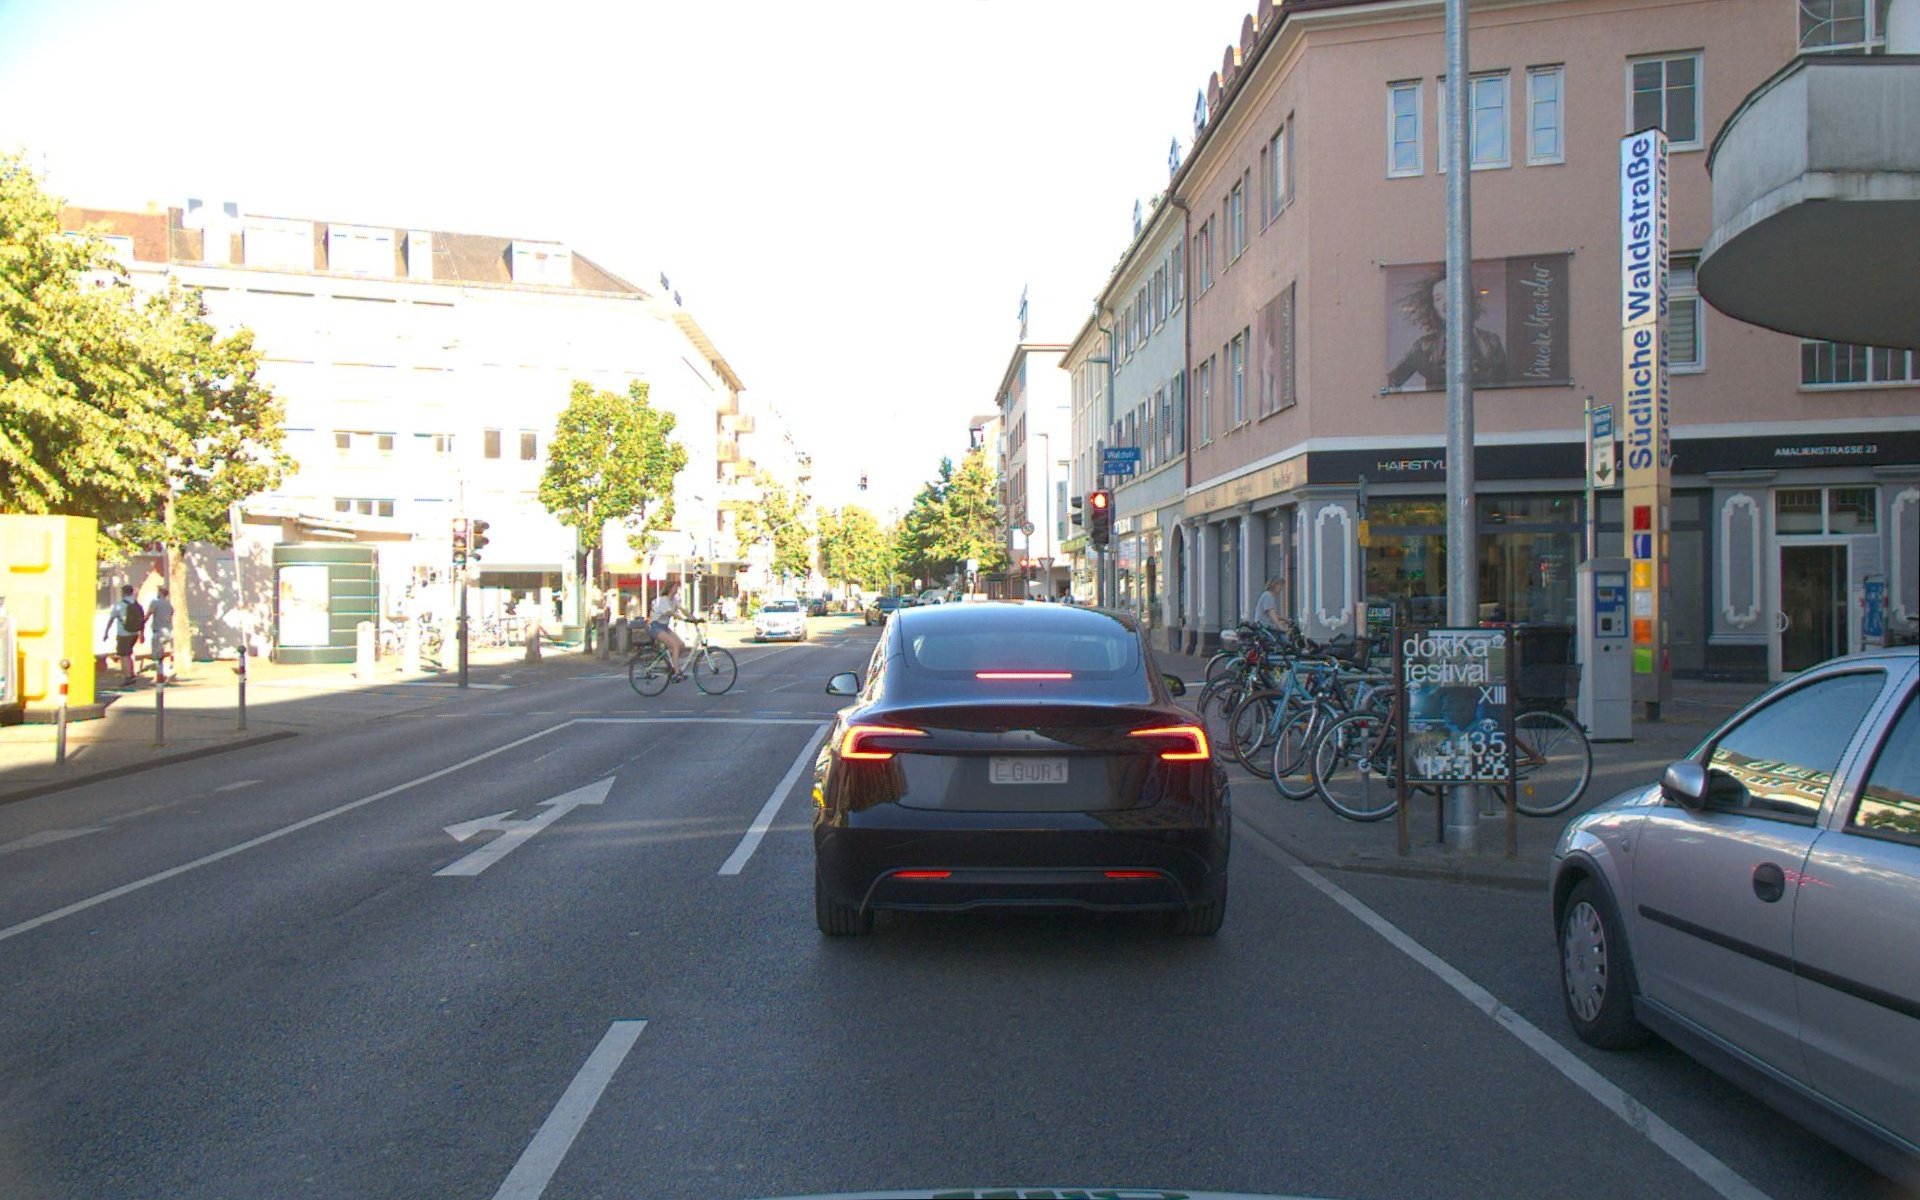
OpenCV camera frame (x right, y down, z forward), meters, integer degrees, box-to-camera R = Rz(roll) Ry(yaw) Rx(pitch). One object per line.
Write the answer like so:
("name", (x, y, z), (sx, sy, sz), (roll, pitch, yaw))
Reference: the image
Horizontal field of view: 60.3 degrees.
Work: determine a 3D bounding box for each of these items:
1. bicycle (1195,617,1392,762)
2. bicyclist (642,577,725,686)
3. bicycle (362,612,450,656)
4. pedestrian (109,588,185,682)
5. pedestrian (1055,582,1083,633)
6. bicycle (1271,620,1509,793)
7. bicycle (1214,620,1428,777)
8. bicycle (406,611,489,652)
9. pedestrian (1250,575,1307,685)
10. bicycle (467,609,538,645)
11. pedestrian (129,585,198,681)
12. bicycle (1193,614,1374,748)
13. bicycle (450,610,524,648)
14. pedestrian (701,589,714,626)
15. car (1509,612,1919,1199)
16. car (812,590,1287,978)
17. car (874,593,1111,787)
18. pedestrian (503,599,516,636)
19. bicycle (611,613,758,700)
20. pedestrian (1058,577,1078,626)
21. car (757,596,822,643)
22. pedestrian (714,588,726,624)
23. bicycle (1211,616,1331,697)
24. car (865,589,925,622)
("bicycle", (2.895, 0.769, 14.404), (1.595, 1.180, 0.432), (-2, 0, -2))
("bicyclist", (-4.173, 0.463, 25.017), (1.074, 1.617, 0.629), (0, 0, 15))
("bicycle", (-14.465, 0.887, 43.225), (2.040, 1.123, 0.806), (0, 0, -1))
("pedestrian", (-14.587, 0.622, 29.687), (0.966, 1.665, 0.737), (0, 0, 3))
("pedestrian", (4.019, 0.264, 61.183), (0.979, 1.883, 0.615), (0, 0, -1))
("bicycle", (3.126, 0.764, 12.066), (1.595, 1.180, 0.432), (-2, 0, -2))
("bicycle", (2.892, 0.783, 13.300), (1.595, 1.180, 0.432), (-2, 0, -2))
("bicycle", (-14.172, 0.873, 45.749), (2.040, 1.123, 0.806), (0, 0, -1))
("pedestrian", (4.342, 0.404, 22.581), (0.727, 1.466, 0.583), (1, 0, 8))
("bicycle", (-14.582, 0.844, 52.711), (2.040, 1.123, 0.806), (0, 0, -1))
("pedestrian", (-14.694, 0.598, 30.532), (0.882, 1.755, 0.744), (0, 0, 3))
("bicycle", (3.034, 0.755, 15.566), (1.594, 1.180, 0.433), (-2, 0, 0))
("bicycle", (-14.439, 0.887, 50.520), (2.040, 1.123, 0.806), (0, 0, -1))
("pedestrian", (-14.246, 0.413, 93.326), (0.613, 2.049, 0.707), (0, 0, -1))
("car", (2.898, 0.763, 4.401), (1.588, 1.419, 3.886), (0, 0, 0))
("car", (0.345, 0.699, 8.211), (1.812, 1.480, 3.786), (0, 0, 0))
("car", (0.251, 0.684, 14.579), (1.812, 1.480, 3.786), (0, 0, 0))
("pedestrian", (-16.780, 0.661, 61.603), (0.412, 1.363, 0.393), (0, 0, -8))
("bicycle", (-4.166, 0.849, 25.023), (2.080, 1.221, 0.629), (-3, -1, 15))
("pedestrian", (3.982, 0.061, 61.230), (0.689, 1.814, 0.533), (0, 0, -1))
("car", (-6.291, 0.690, 61.341), (1.953, 1.567, 3.999), (-3, 0, -1))
("pedestrian", (-13.528, 0.323, 93.347), (0.613, 2.049, 0.575), (0, 0, -1))
("bicycle", (4.236, 0.768, 22.584), (1.581, 1.063, 0.591), (1, 0, 8))
("car", (-3.565, 0.280, 89.475), (2.019, 1.757, 4.628), (0, 0, -19))
